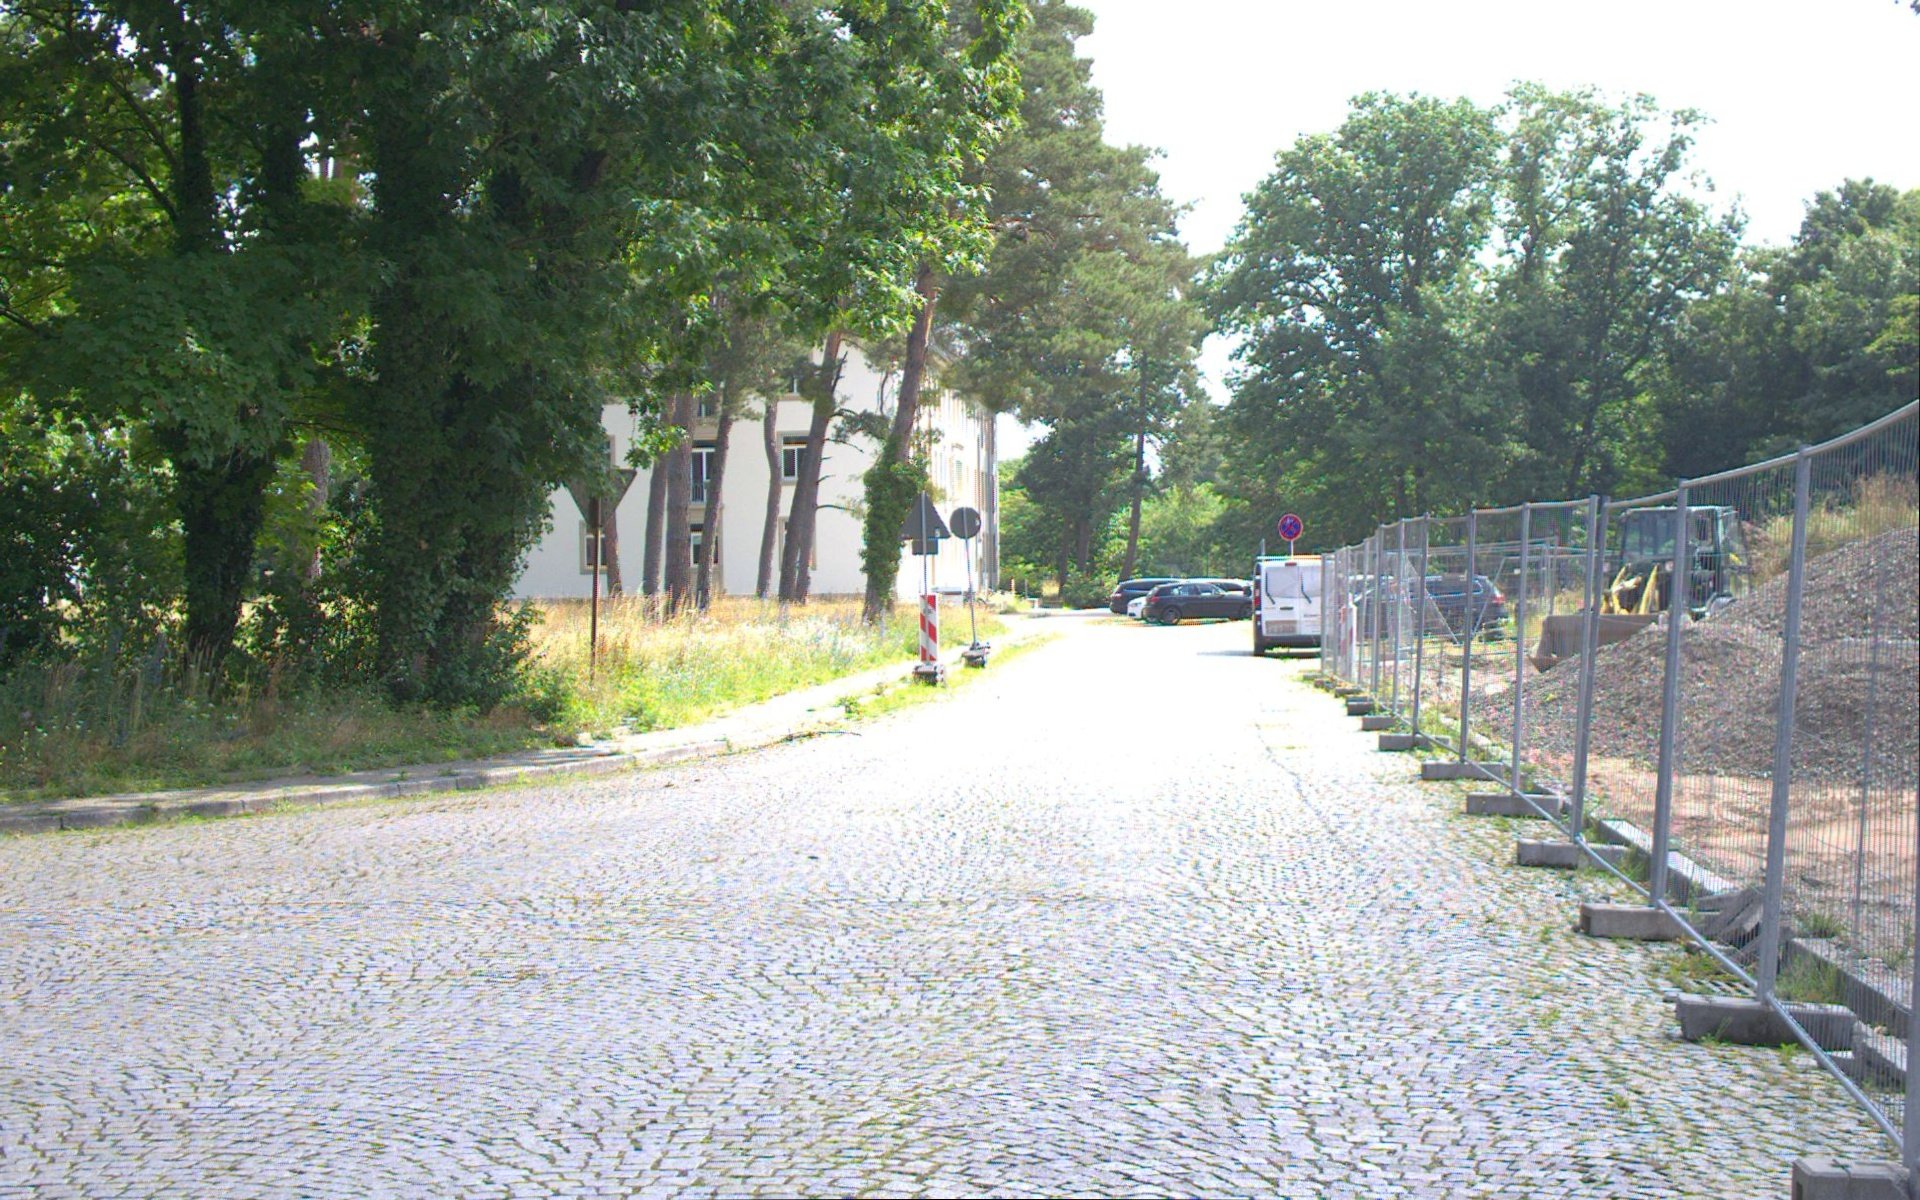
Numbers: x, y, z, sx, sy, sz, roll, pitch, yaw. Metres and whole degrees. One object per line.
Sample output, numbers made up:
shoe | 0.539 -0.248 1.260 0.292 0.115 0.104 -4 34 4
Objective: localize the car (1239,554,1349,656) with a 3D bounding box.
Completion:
car | 6.791 0.094 70.305 1.993 2.007 4.091 0 0 2

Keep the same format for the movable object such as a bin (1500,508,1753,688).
movable object such as a bin | 10.131 -0.038 51.984 2.132 2.584 4.782 0 0 33

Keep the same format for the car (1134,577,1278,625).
car | 8.465 0.017 118.498 4.779 1.635 2.000 0 0 -2

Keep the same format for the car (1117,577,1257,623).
car | 8.010 -0.003 121.619 4.779 1.635 2.000 0 0 -2

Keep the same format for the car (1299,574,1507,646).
car | 9.805 0.213 76.050 4.405 1.505 1.999 1 0 12
